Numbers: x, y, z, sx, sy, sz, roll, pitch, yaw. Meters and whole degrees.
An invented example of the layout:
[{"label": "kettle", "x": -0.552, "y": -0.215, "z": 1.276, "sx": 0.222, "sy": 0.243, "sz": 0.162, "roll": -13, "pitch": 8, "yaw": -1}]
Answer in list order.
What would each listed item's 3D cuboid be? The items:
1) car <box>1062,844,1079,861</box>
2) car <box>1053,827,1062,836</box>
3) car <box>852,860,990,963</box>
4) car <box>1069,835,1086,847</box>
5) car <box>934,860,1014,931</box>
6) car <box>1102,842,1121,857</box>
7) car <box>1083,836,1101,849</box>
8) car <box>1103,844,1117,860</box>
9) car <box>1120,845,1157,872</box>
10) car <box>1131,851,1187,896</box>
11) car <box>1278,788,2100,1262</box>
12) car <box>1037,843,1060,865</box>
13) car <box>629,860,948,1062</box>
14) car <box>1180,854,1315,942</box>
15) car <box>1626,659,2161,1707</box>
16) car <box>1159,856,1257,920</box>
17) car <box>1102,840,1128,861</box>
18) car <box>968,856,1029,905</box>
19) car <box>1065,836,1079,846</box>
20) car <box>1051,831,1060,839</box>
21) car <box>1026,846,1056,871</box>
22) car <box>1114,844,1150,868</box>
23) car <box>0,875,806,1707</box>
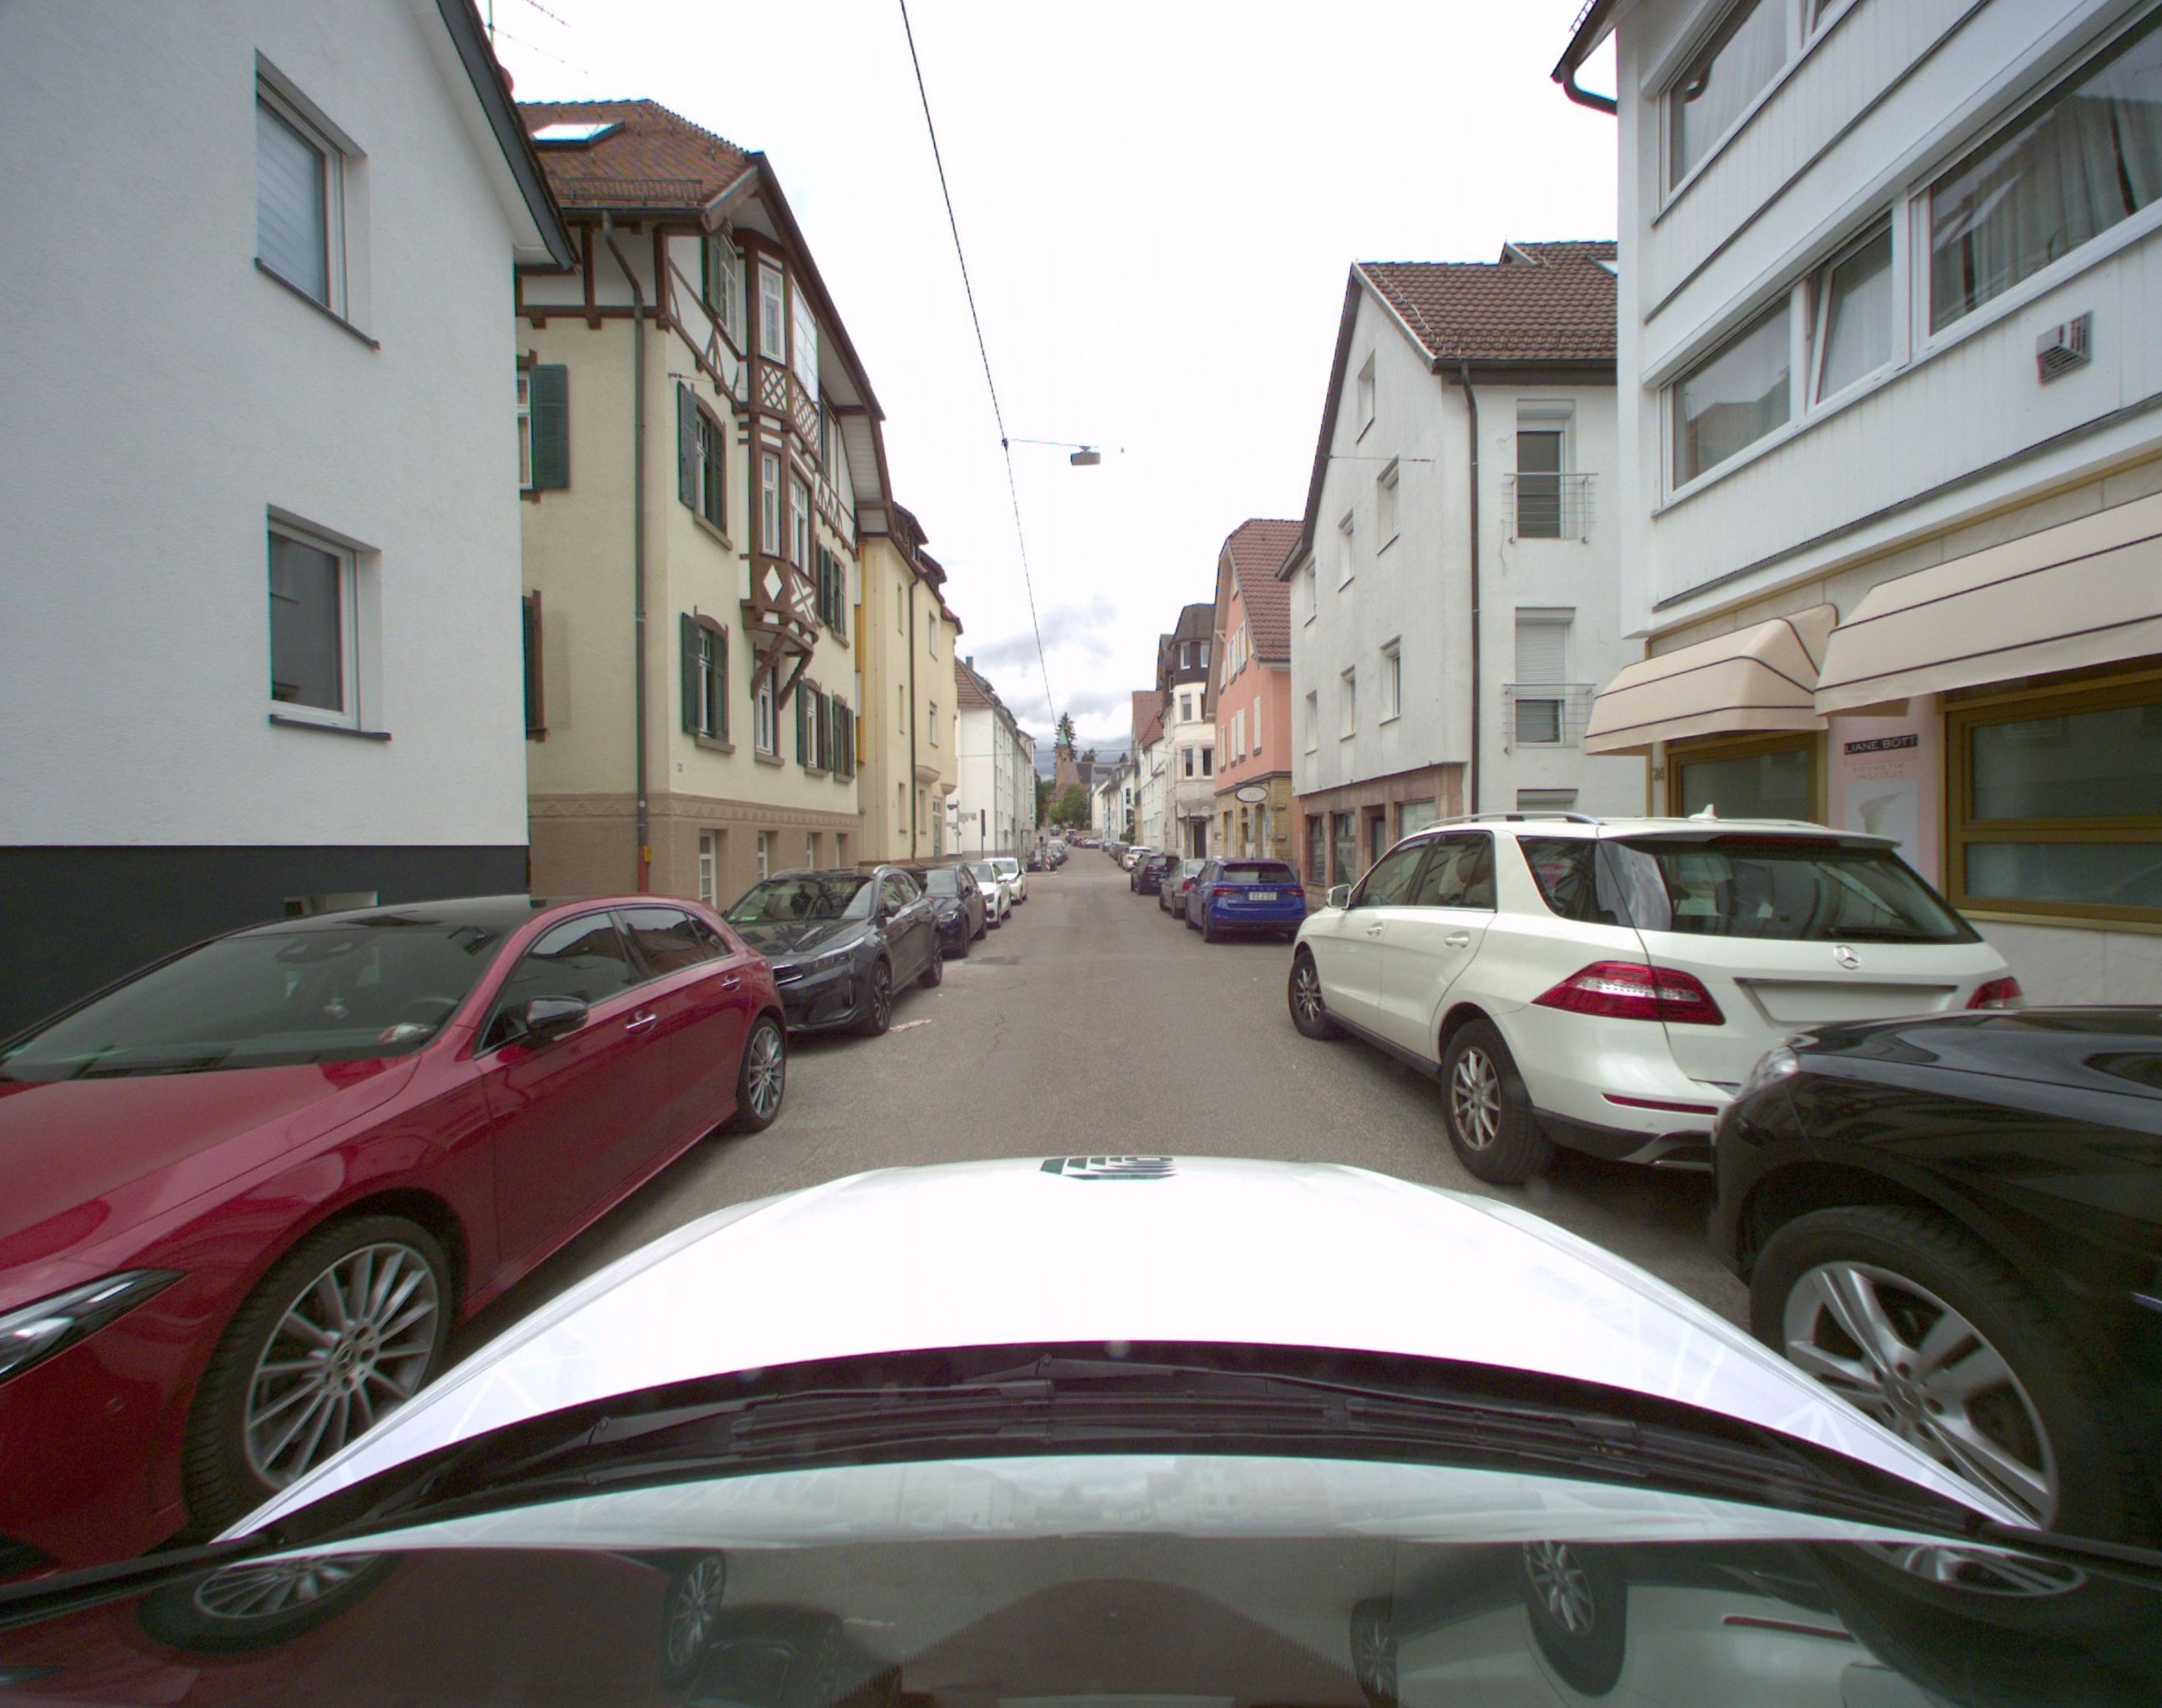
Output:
[{"label": "car", "x": -1.034, "y": -0.131, "z": 76.856, "sx": 1.535, "sy": 1.341, "sz": 3.283, "roll": 2, "pitch": -3, "yaw": -1}, {"label": "car", "x": -5.474, "y": -5.169, "z": 187.828, "sx": 1.818, "sy": 1.923, "sz": 3.744, "roll": 2, "pitch": 2, "yaw": -5}, {"label": "car", "x": -2.549, "y": 0.854, "z": 13.812, "sx": 1.602, "sy": 1.424, "sz": 3.852, "roll": -1, "pitch": 0, "yaw": -1}, {"label": "car", "x": -0.567, "y": -1.989, "z": 120.221, "sx": 1.888, "sy": 1.645, "sz": 3.963, "roll": 2, "pitch": 2, "yaw": -9}, {"label": "car", "x": -2.352, "y": 0.867, "z": 18.575, "sx": 1.279, "sy": 1.359, "sz": 3.804, "roll": -1, "pitch": 0, "yaw": 0}, {"label": "car", "x": 2.660, "y": -0.412, "z": 72.156, "sx": 1.405, "sy": 1.305, "sz": 2.899, "roll": 1, "pitch": 2, "yaw": -4}, {"label": "car", "x": 1.423, "y": -1.548, "z": 109.350, "sx": 1.759, "sy": 1.666, "sz": 3.989, "roll": 2, "pitch": 1, "yaw": -8}, {"label": "car", "x": 3.205, "y": -0.193, "z": 90.375, "sx": 1.573, "sy": 1.759, "sz": 3.210, "roll": 0, "pitch": -1, "yaw": 1}, {"label": "car", "x": 3.576, "y": 0.241, "z": 51.215, "sx": 1.763, "sy": 1.525, "sz": 3.897, "roll": 1, "pitch": 2, "yaw": -4}, {"label": "car", "x": 2.908, "y": 0.695, "z": 31.080, "sx": 1.707, "sy": 1.549, "sz": 3.801, "roll": 2, "pitch": 0, "yaw": -1}, {"label": "car", "x": 2.760, "y": 0.603, "z": 5.154, "sx": 1.928, "sy": 1.712, "sz": 4.375, "roll": 0, "pitch": 0, "yaw": -1}, {"label": "car", "x": -2.407, "y": -0.034, "z": 60.665, "sx": 1.535, "sy": 1.515, "sz": 3.377, "roll": 2, "pitch": 1, "yaw": -1}, {"label": "car", "x": -2.638, "y": 0.863, "z": 8.435, "sx": 1.762, "sy": 1.495, "sz": 3.982, "roll": -3, "pitch": 0, "yaw": 0}, {"label": "car", "x": 2.949, "y": 0.722, "z": 15.160, "sx": 1.768, "sy": 1.441, "sz": 3.782, "roll": 0, "pitch": 0, "yaw": 0}, {"label": "car", "x": 2.662, "y": 0.588, "z": 0.369, "sx": 1.934, "sy": 1.780, "sz": 4.368, "roll": 1, "pitch": -1, "yaw": 0}, {"label": "car", "x": 3.035, "y": 0.767, "z": 20.209, "sx": 1.743, "sy": 1.391, "sz": 4.030, "roll": 1, "pitch": 0, "yaw": -1}, {"label": "car", "x": 2.755, "y": -0.304, "z": 66.776, "sx": 1.724, "sy": 1.574, "sz": 3.830, "roll": 1, "pitch": 2, "yaw": -4}, {"label": "car", "x": -2.592, "y": 0.798, "z": 26.226, "sx": 1.581, "sy": 1.422, "sz": 3.400, "roll": -2, "pitch": 0, "yaw": 0}, {"label": "car", "x": -1.516, "y": -2.175, "z": 137.080, "sx": 1.888, "sy": 1.604, "sz": 3.704, "roll": 2, "pitch": 1, "yaw": -9}, {"label": "car", "x": -5.551, "y": -4.018, "z": 174.114, "sx": 1.744, "sy": 1.683, "sz": 3.594, "roll": 2, "pitch": 1, "yaw": -4}, {"label": "car", "x": -2.516, "y": 0.281, "z": 51.632, "sx": 1.669, "sy": 1.464, "sz": 4.000, "roll": 1, "pitch": 1, "yaw": 0}, {"label": "car", "x": 3.476, "y": 0.115, "z": 56.397, "sx": 1.951, "sy": 1.574, "sz": 3.994, "roll": 1, "pitch": 0, "yaw": -4}, {"label": "car", "x": -2.702, "y": 0.873, "z": 3.228, "sx": 1.763, "sy": 1.417, "sz": 4.170, "roll": -2, "pitch": 0, "yaw": 0}]
